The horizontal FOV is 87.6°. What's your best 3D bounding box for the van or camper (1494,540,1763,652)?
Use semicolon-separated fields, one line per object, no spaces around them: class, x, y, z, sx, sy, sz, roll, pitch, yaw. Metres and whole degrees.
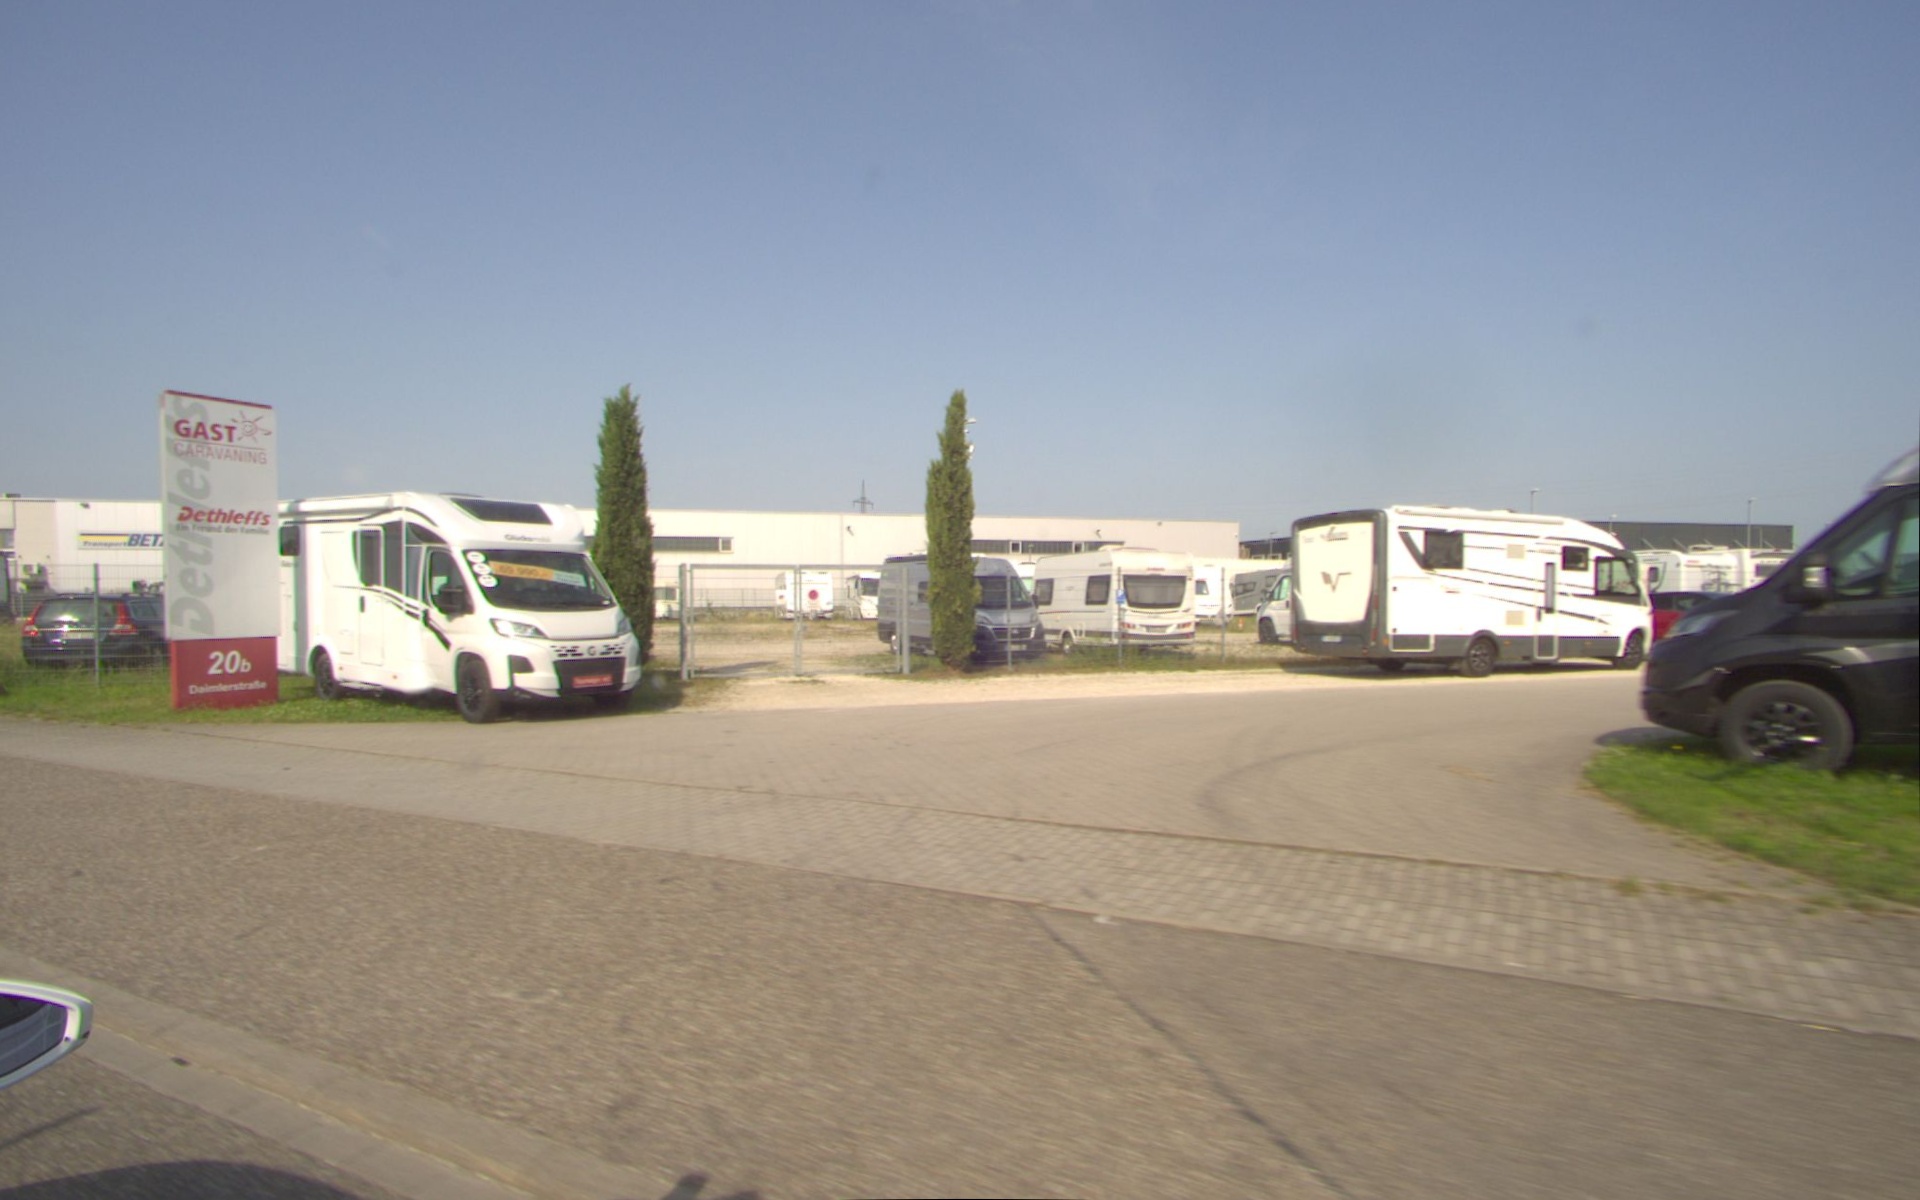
van or camper;19.327;-0.114;29.507;2.287;2.902;6.594;0;0;-18

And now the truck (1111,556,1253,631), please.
truck;9.171;-0.320;42.525;2.414;2.884;7.986;0;1;-15

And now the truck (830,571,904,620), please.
truck;-4.939;-0.273;51.693;2.414;2.296;7.986;0;1;-15

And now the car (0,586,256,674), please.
car;-15.867;0.509;19.062;2.130;1.496;3.999;0;0;-1

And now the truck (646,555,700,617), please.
truck;-14.330;-0.709;50.205;2.414;2.864;7.986;0;1;-15

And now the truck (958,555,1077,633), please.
truck;2.140;-0.282;40.937;2.414;2.884;7.986;0;1;-15

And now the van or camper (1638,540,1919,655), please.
van or camper;25.242;-0.069;31.273;2.449;3.170;6.594;0;0;-18

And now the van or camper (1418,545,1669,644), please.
van or camper;16.826;-0.145;29.457;2.186;2.558;6.594;0;0;-18

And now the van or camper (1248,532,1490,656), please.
van or camper;10.628;-0.147;26.871;2.287;2.902;6.594;0;0;-18

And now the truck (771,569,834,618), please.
truck;-8.133;-0.362;51.085;2.414;2.296;7.200;0;1;-15

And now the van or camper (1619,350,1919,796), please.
van or camper;8.449;-0.193;6.005;7.262;2.885;2.336;-1;0;43

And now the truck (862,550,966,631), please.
truck;-2.019;-0.392;39.671;2.414;2.884;7.986;0;1;-15

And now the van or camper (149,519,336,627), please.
van or camper;-23.059;-0.844;32.666;2.622;3.126;6.782;0;1;-14

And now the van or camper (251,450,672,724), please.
van or camper;-7.124;-0.187;13.865;6.878;2.983;2.323;1;2;36

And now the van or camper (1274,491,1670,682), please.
van or camper;9.603;-0.241;18.720;7.163;3.073;2.576;0;1;-23

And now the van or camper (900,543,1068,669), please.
van or camper;0.344;0.064;23.612;1.965;2.569;6.134;-1;1;-19

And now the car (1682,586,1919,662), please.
car;18.662;0.517;22.243;1.687;1.516;3.990;2;-1;-20

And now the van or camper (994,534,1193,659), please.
van or camper;3.113;-0.110;25.391;2.288;2.742;6.592;0;1;-19

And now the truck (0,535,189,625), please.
truck;-41.863;-0.921;46.578;9.153;4.026;2.452;0;2;-19

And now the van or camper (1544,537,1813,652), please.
van or camper;21.934;-0.165;31.090;2.449;3.170;6.594;0;0;-18

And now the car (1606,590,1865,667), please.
car;16.147;0.561;21.108;1.688;1.435;3.987;2;-1;-22
